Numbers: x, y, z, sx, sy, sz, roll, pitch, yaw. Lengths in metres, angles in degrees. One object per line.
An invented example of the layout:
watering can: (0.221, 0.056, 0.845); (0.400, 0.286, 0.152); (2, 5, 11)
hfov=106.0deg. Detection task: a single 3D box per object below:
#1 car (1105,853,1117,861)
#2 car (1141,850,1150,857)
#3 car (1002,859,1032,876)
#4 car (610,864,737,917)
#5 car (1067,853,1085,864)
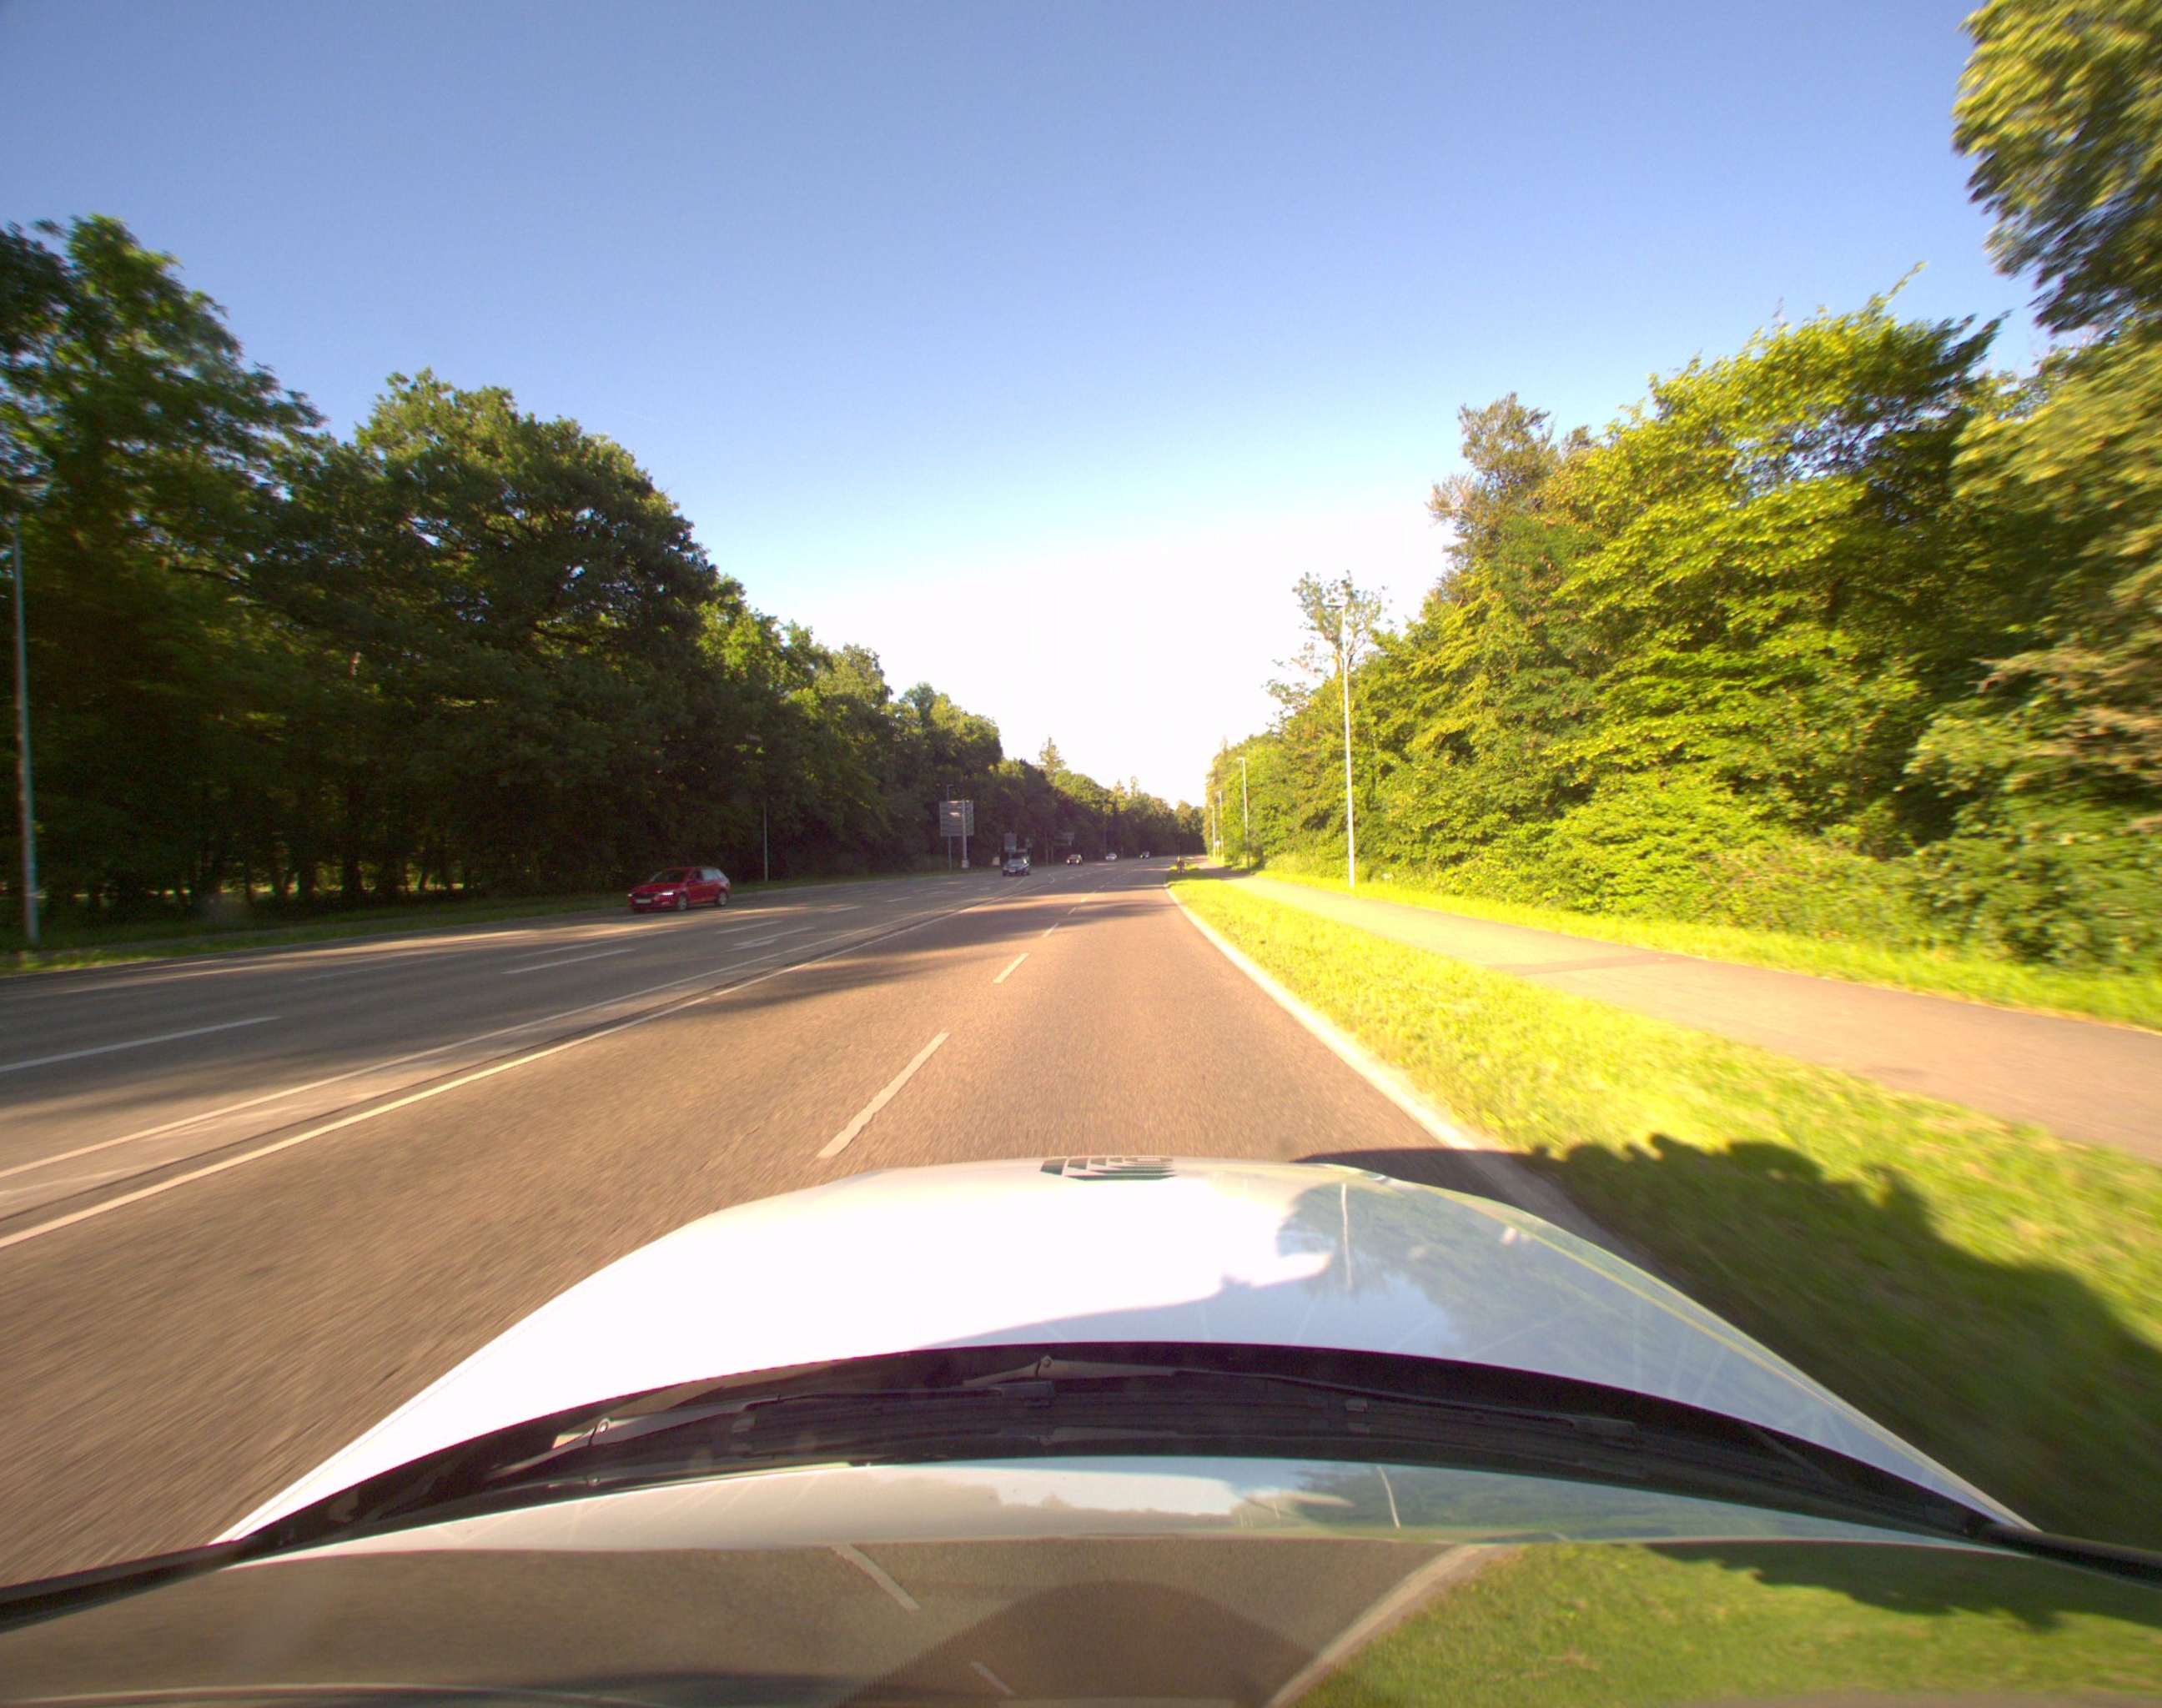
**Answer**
car: (5.827, 0.627, 159.599); (1.814, 1.504, 4.316); (-1, 0, 8)
car: (16.870, -0.150, 212.846); (1.814, 1.589, 4.361); (-1, 0, 8)
car: (-5.108, 1.076, 65.370); (1.737, 1.234, 4.677); (-2, 0, 3)
car: (-13.980, 1.199, 28.255); (1.985, 1.564, 4.341); (-2, 0, 3)
car: (-0.716, 0.666, 118.736); (1.814, 1.544, 4.268); (-1, 0, 10)
